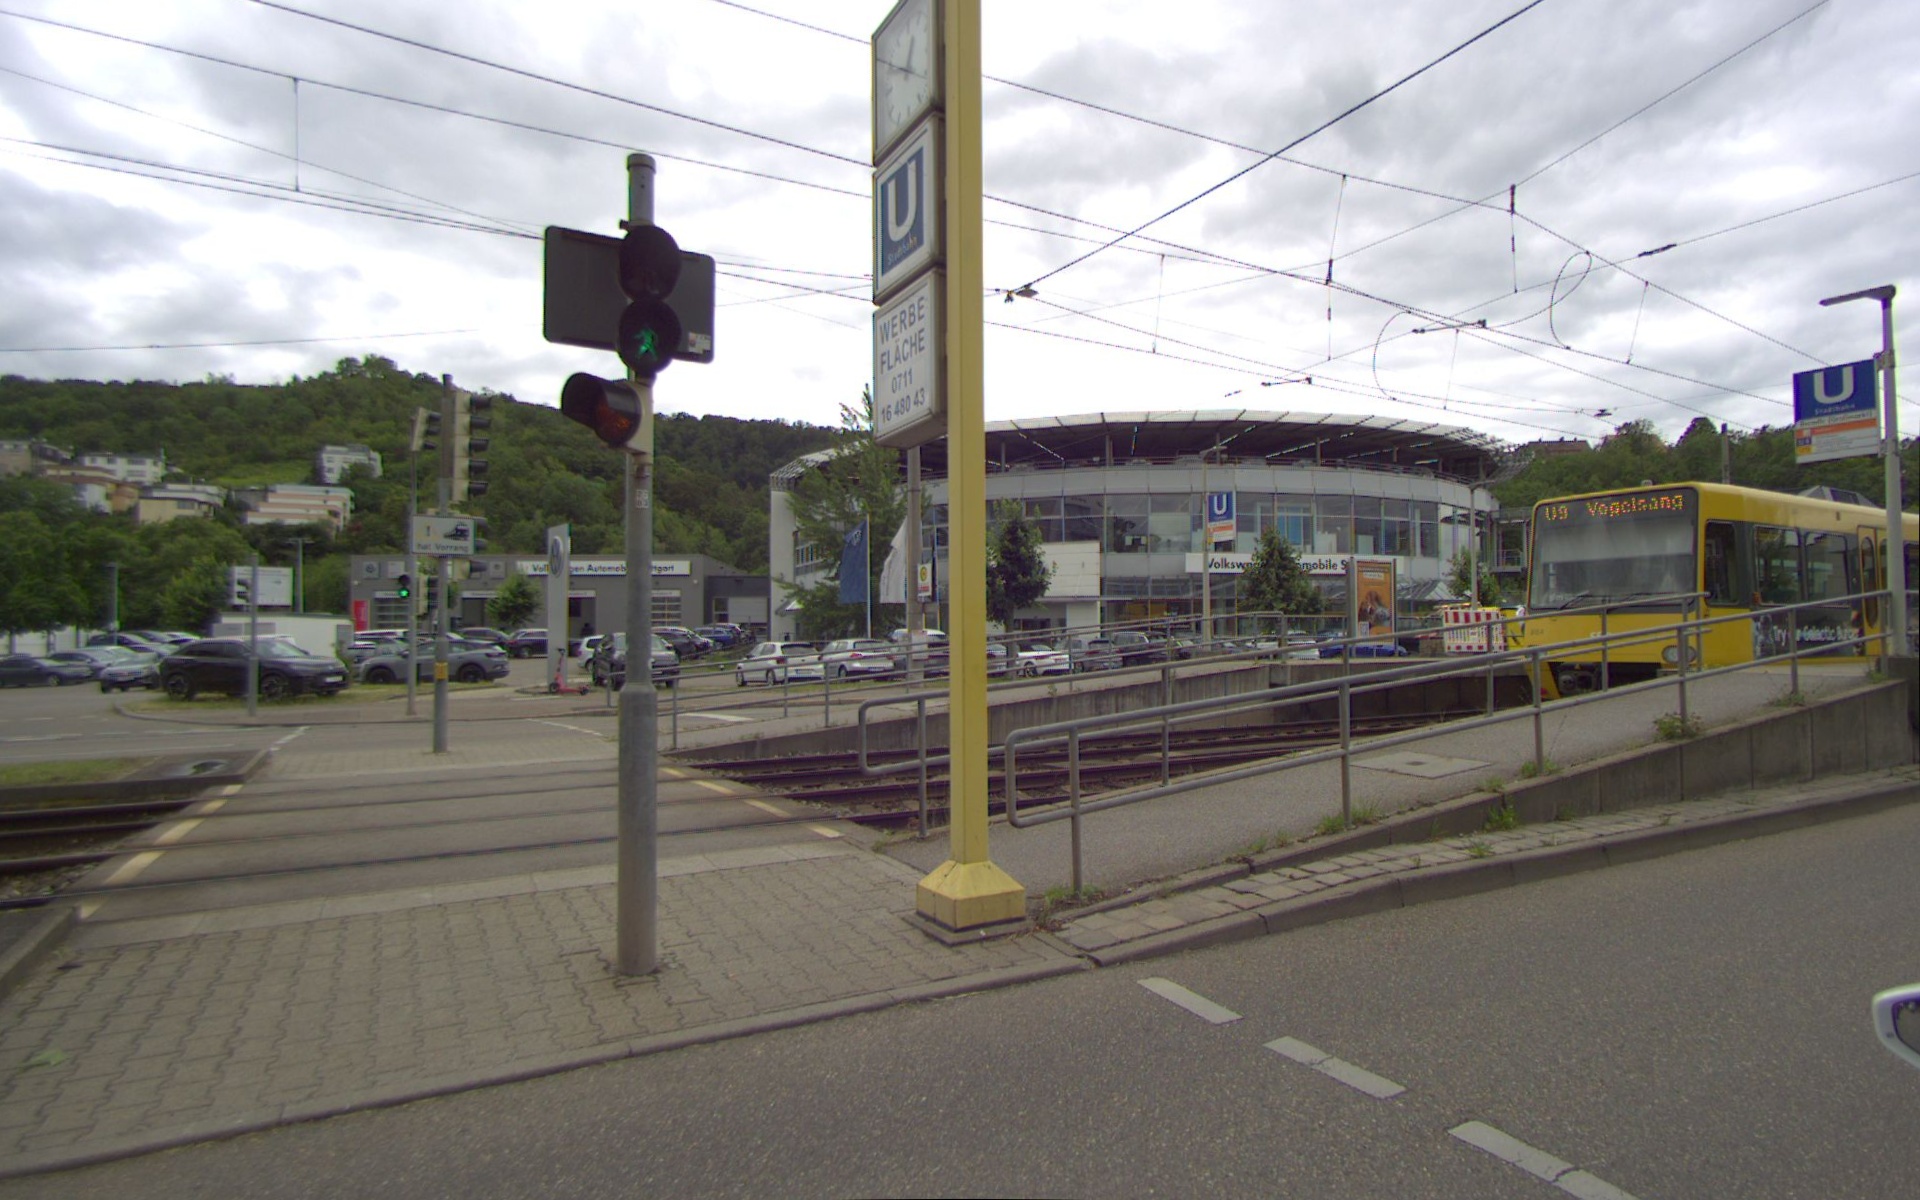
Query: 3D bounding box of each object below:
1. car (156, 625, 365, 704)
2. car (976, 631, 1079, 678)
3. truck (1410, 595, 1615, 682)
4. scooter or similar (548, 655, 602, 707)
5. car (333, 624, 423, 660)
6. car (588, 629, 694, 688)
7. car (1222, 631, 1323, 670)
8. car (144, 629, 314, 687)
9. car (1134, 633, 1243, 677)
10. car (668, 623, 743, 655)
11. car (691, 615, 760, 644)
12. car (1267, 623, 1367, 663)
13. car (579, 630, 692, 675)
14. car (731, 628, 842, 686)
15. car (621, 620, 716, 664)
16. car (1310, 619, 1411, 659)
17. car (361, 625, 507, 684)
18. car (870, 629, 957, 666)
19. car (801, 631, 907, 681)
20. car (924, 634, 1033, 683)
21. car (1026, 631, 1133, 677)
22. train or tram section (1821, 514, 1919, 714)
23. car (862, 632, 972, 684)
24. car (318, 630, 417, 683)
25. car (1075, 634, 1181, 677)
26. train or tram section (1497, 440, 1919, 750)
[{"bbox_3d":[-17.445,1.565,25.167,3.919,1.662,2.001,2,1,6],"label":"car"},{"bbox_3d":[2.446,1.985,37.180,1.712,1.574,3.962,5,-5,-34],"label":"car"},{"bbox_3d":[21.616,1.507,39.132,8.897,3.118,2.683,1,-3,-29],"label":"truck"},{"bbox_3d":[-10.271,2.157,26.823,1.183,1.304,0.574,4,-4,-12],"label":"scooter or similar"},{"bbox_3d":[-33.407,2.411,57.743,3.924,1.817,1.853,3,-4,-5],"label":"car"},{"bbox_3d":[-9.635,1.727,30.161,1.980,1.661,3.963,2,-3,-34],"label":"car"},{"bbox_3d":[13.271,2.143,42.921,1.902,1.574,3.975,0,-2,-26],"label":"car"},{"bbox_3d":[-27.867,2.233,38.440,4.921,2.039,2.000,-1,-4,-3],"label":"car"},{"bbox_3d":[9.018,2.146,39.863,1.908,1.574,3.962,0,-2,-34],"label":"car"},{"bbox_3d":[-16.403,2.546,64.901,4.428,1.751,1.998,3,-4,-8],"label":"car"},{"bbox_3d":[-16.360,2.066,70.159,4.428,1.751,1.998,3,-4,-8],"label":"car"},{"bbox_3d":[15.682,1.912,44.344,1.902,1.574,3.975,5,-4,-26],"label":"car"},{"bbox_3d":[-14.653,2.411,45.555,4.425,1.751,2.000,3,-4,-5],"label":"car"},{"bbox_3d":[-5.610,1.800,32.208,1.980,1.661,3.962,5,-5,-34],"label":"car"},{"bbox_3d":[-15.239,2.248,52.733,4.428,2.022,1.998,3,-4,-8],"label":"car"},{"bbox_3d":[17.810,1.761,44.814,1.902,1.574,3.975,5,-4,-26],"label":"car"},{"bbox_3d":[-17.670,1.858,33.941,3.936,1.727,1.994,4,-4,-17],"label":"car"},{"bbox_3d":[-2.179,2.193,46.508,1.914,1.574,3.950,6,-5,-42],"label":"car"},{"bbox_3d":[-3.591,1.851,33.370,1.797,1.495,3.962,5,-5,-34],"label":"car"},{"bbox_3d":[0.592,2.075,35.783,1.908,1.574,3.962,5,-5,-34],"label":"car"},{"bbox_3d":[4.495,2.045,38.220,1.908,1.574,3.962,5,-5,-34],"label":"car"},{"bbox_3d":[24.183,0.296,23.299,11.773,4.019,2.727,0,-2,-31],"label":"train or tram section"},{"bbox_3d":[-1.536,1.956,34.253,1.908,1.574,3.962,5,-5,-34],"label":"car"},{"bbox_3d":[-24.682,2.403,42.091,1.964,2.039,5.011,-1,-4,-11],"label":"car"},{"bbox_3d":[6.547,2.147,39.411,1.908,1.574,3.962,0,-2,-34],"label":"car"},{"bbox_3d":[14.011,-0.013,17.246,11.773,4.019,2.727,0,-2,-31],"label":"train or tram section"}]
